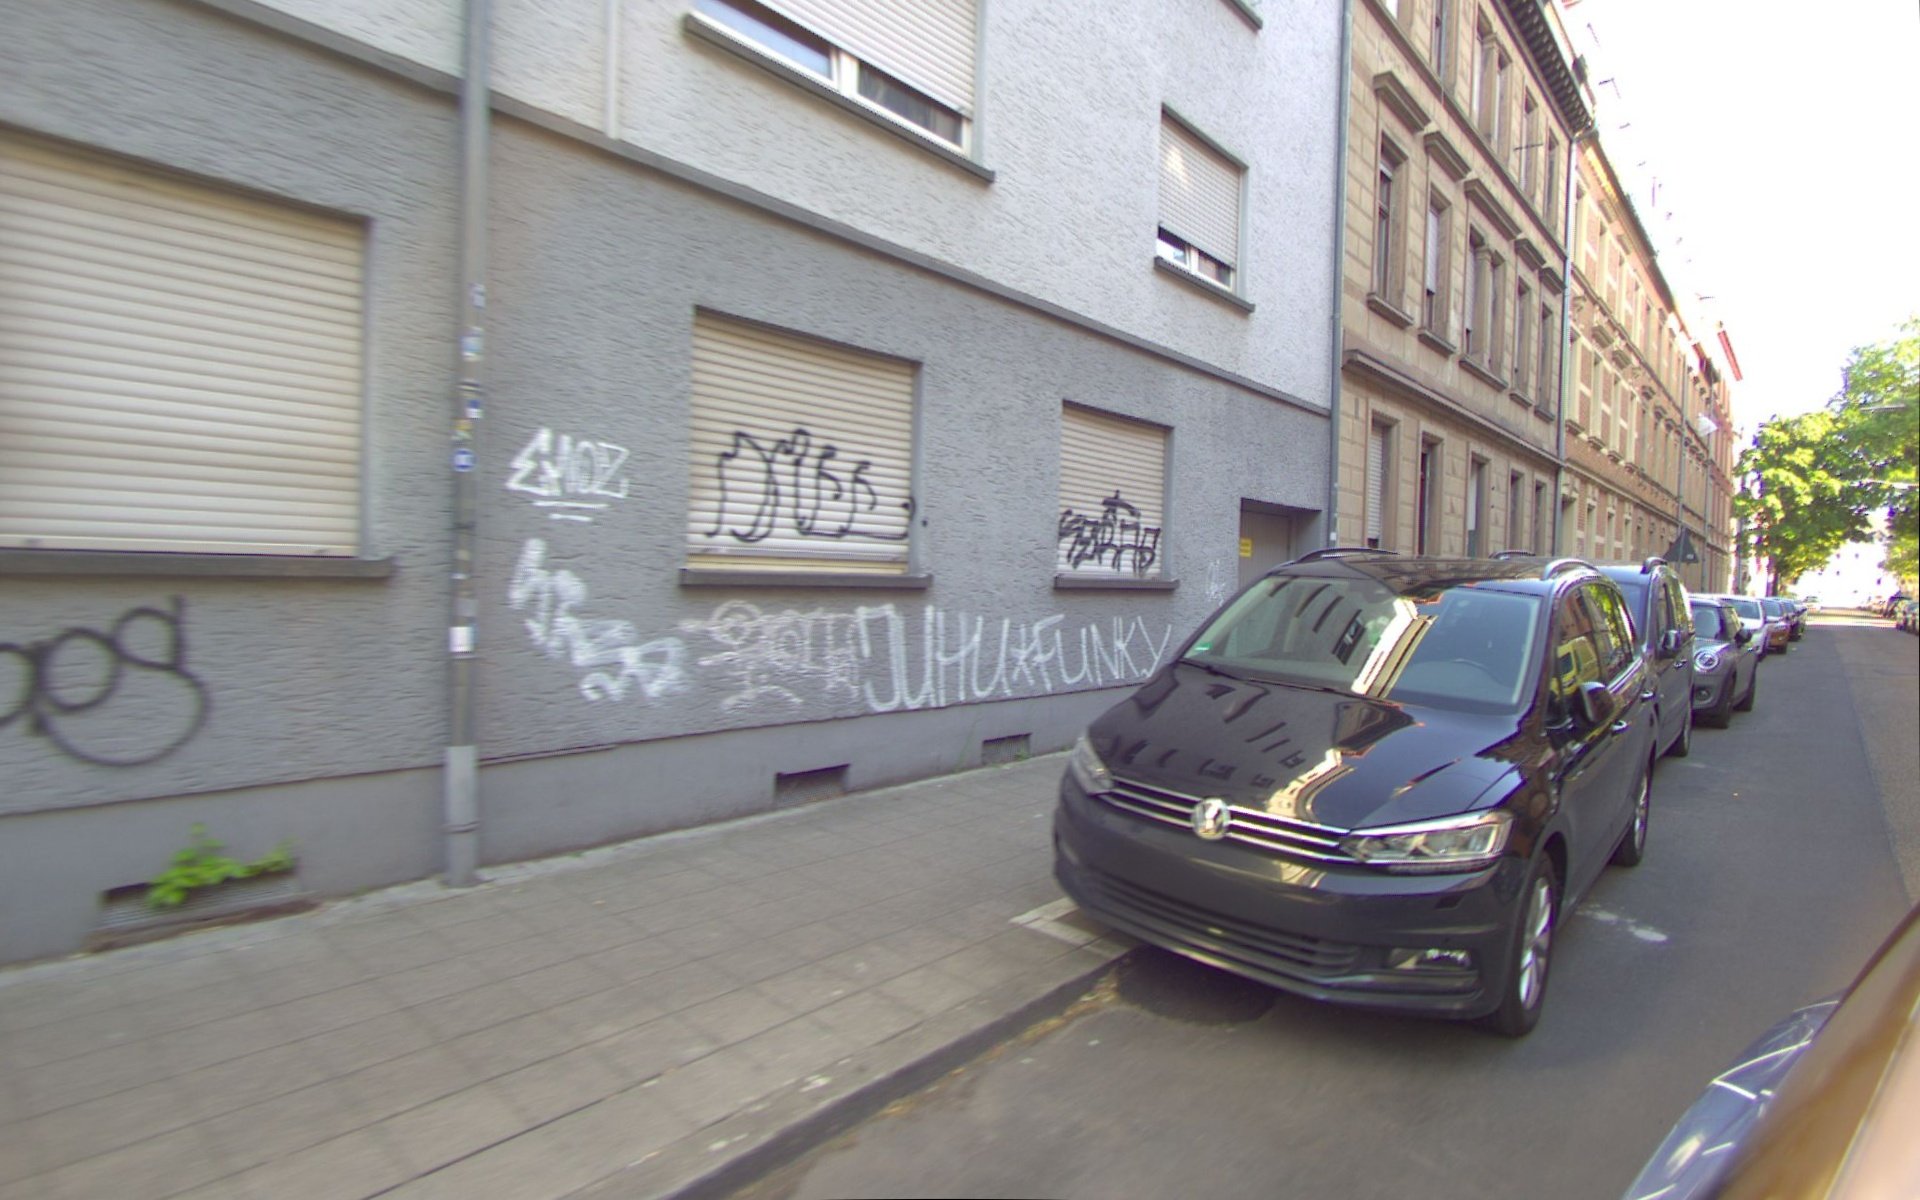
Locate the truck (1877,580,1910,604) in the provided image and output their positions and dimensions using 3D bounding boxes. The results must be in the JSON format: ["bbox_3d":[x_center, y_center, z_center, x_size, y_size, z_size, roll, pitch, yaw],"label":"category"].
[{"bbox_3d":[111.814,-0.988,121.249,2.386,2.690,6.992,3,2,39],"label":"truck"}]

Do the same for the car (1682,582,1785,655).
[{"bbox_3d":[19.280,0.392,25.167,1.720,1.498,4.023,8,6,40],"label":"car"}]

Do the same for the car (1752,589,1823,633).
[{"bbox_3d":[29.510,0.354,36.048,1.776,1.414,4.252,3,2,42],"label":"car"}]

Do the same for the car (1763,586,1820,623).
[{"bbox_3d":[36.745,0.188,44.681,1.761,1.502,4.335,3,2,42],"label":"car"}]

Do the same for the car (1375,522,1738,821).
[{"bbox_3d":[5.300,0.400,8.639,1.753,1.807,4.653,6,4,41],"label":"car"}]

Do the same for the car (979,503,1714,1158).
[{"bbox_3d":[2.199,0.510,4.820,1.899,1.660,4.327,3,3,41],"label":"car"}]

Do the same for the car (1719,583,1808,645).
[{"bbox_3d":[22.738,0.339,28.643,1.752,1.463,4.011,7,5,39],"label":"car"}]

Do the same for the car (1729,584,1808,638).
[{"bbox_3d":[25.742,0.314,32.227,1.724,1.434,4.035,8,5,39],"label":"car"}]

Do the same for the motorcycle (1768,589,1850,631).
[{"bbox_3d":[32.223,0.379,38.447,2.195,1.556,0.886,0,0,16],"label":"motorcycle"}]

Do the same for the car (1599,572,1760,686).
[{"bbox_3d":[12.375,0.411,17.284,1.753,1.536,4.379,8,5,40],"label":"car"}]

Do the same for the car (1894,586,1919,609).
[{"bbox_3d":[86.915,-0.247,92.482,1.993,1.981,4.967,6,4,41],"label":"car"}]

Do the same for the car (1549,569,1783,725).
[{"bbox_3d":[9.001,0.481,12.747,1.755,1.469,4.221,9,6,42],"label":"car"}]
